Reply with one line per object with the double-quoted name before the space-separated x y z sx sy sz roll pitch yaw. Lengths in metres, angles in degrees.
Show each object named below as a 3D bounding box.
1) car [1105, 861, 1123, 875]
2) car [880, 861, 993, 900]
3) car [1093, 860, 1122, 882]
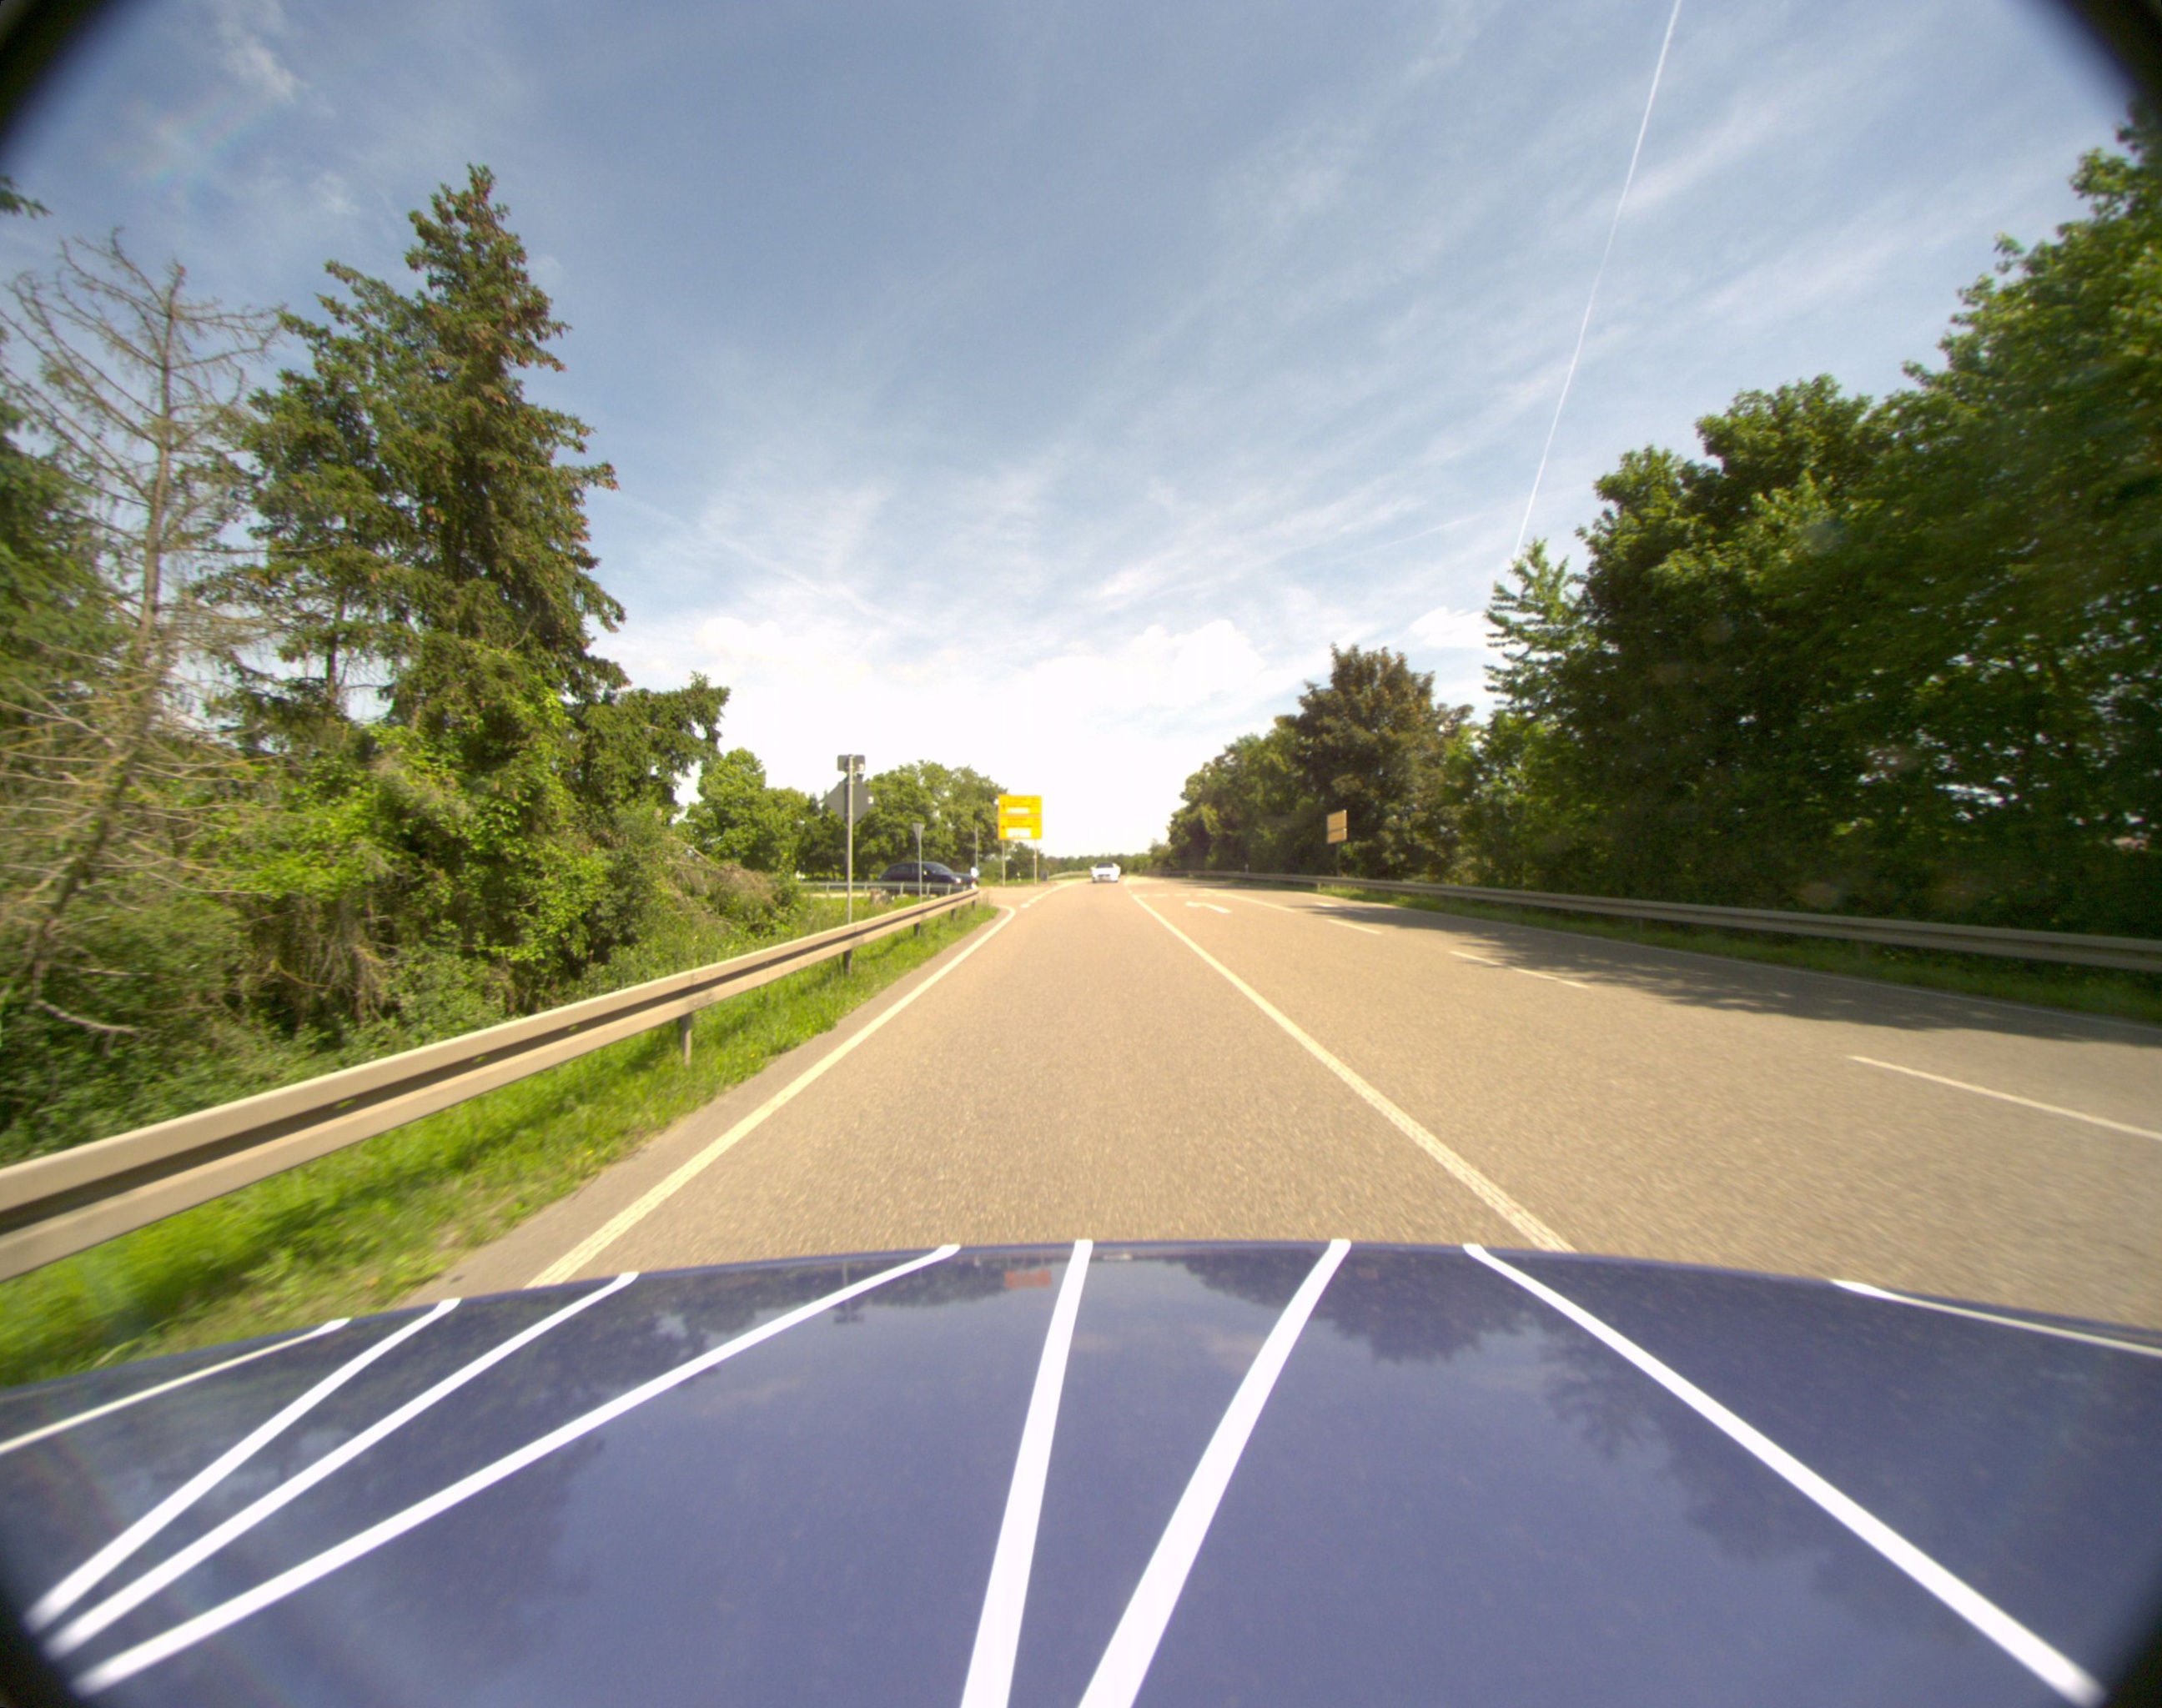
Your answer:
"car" 3.746 1.567 85.200 1.929 1.441 4.001 0 0 3
"car" -6.229 1.144 32.714 4.418 1.580 2.068 -2 0 27
"car" 1.859 1.201 54.154 1.929 1.441 4.535 -1 -1 1
